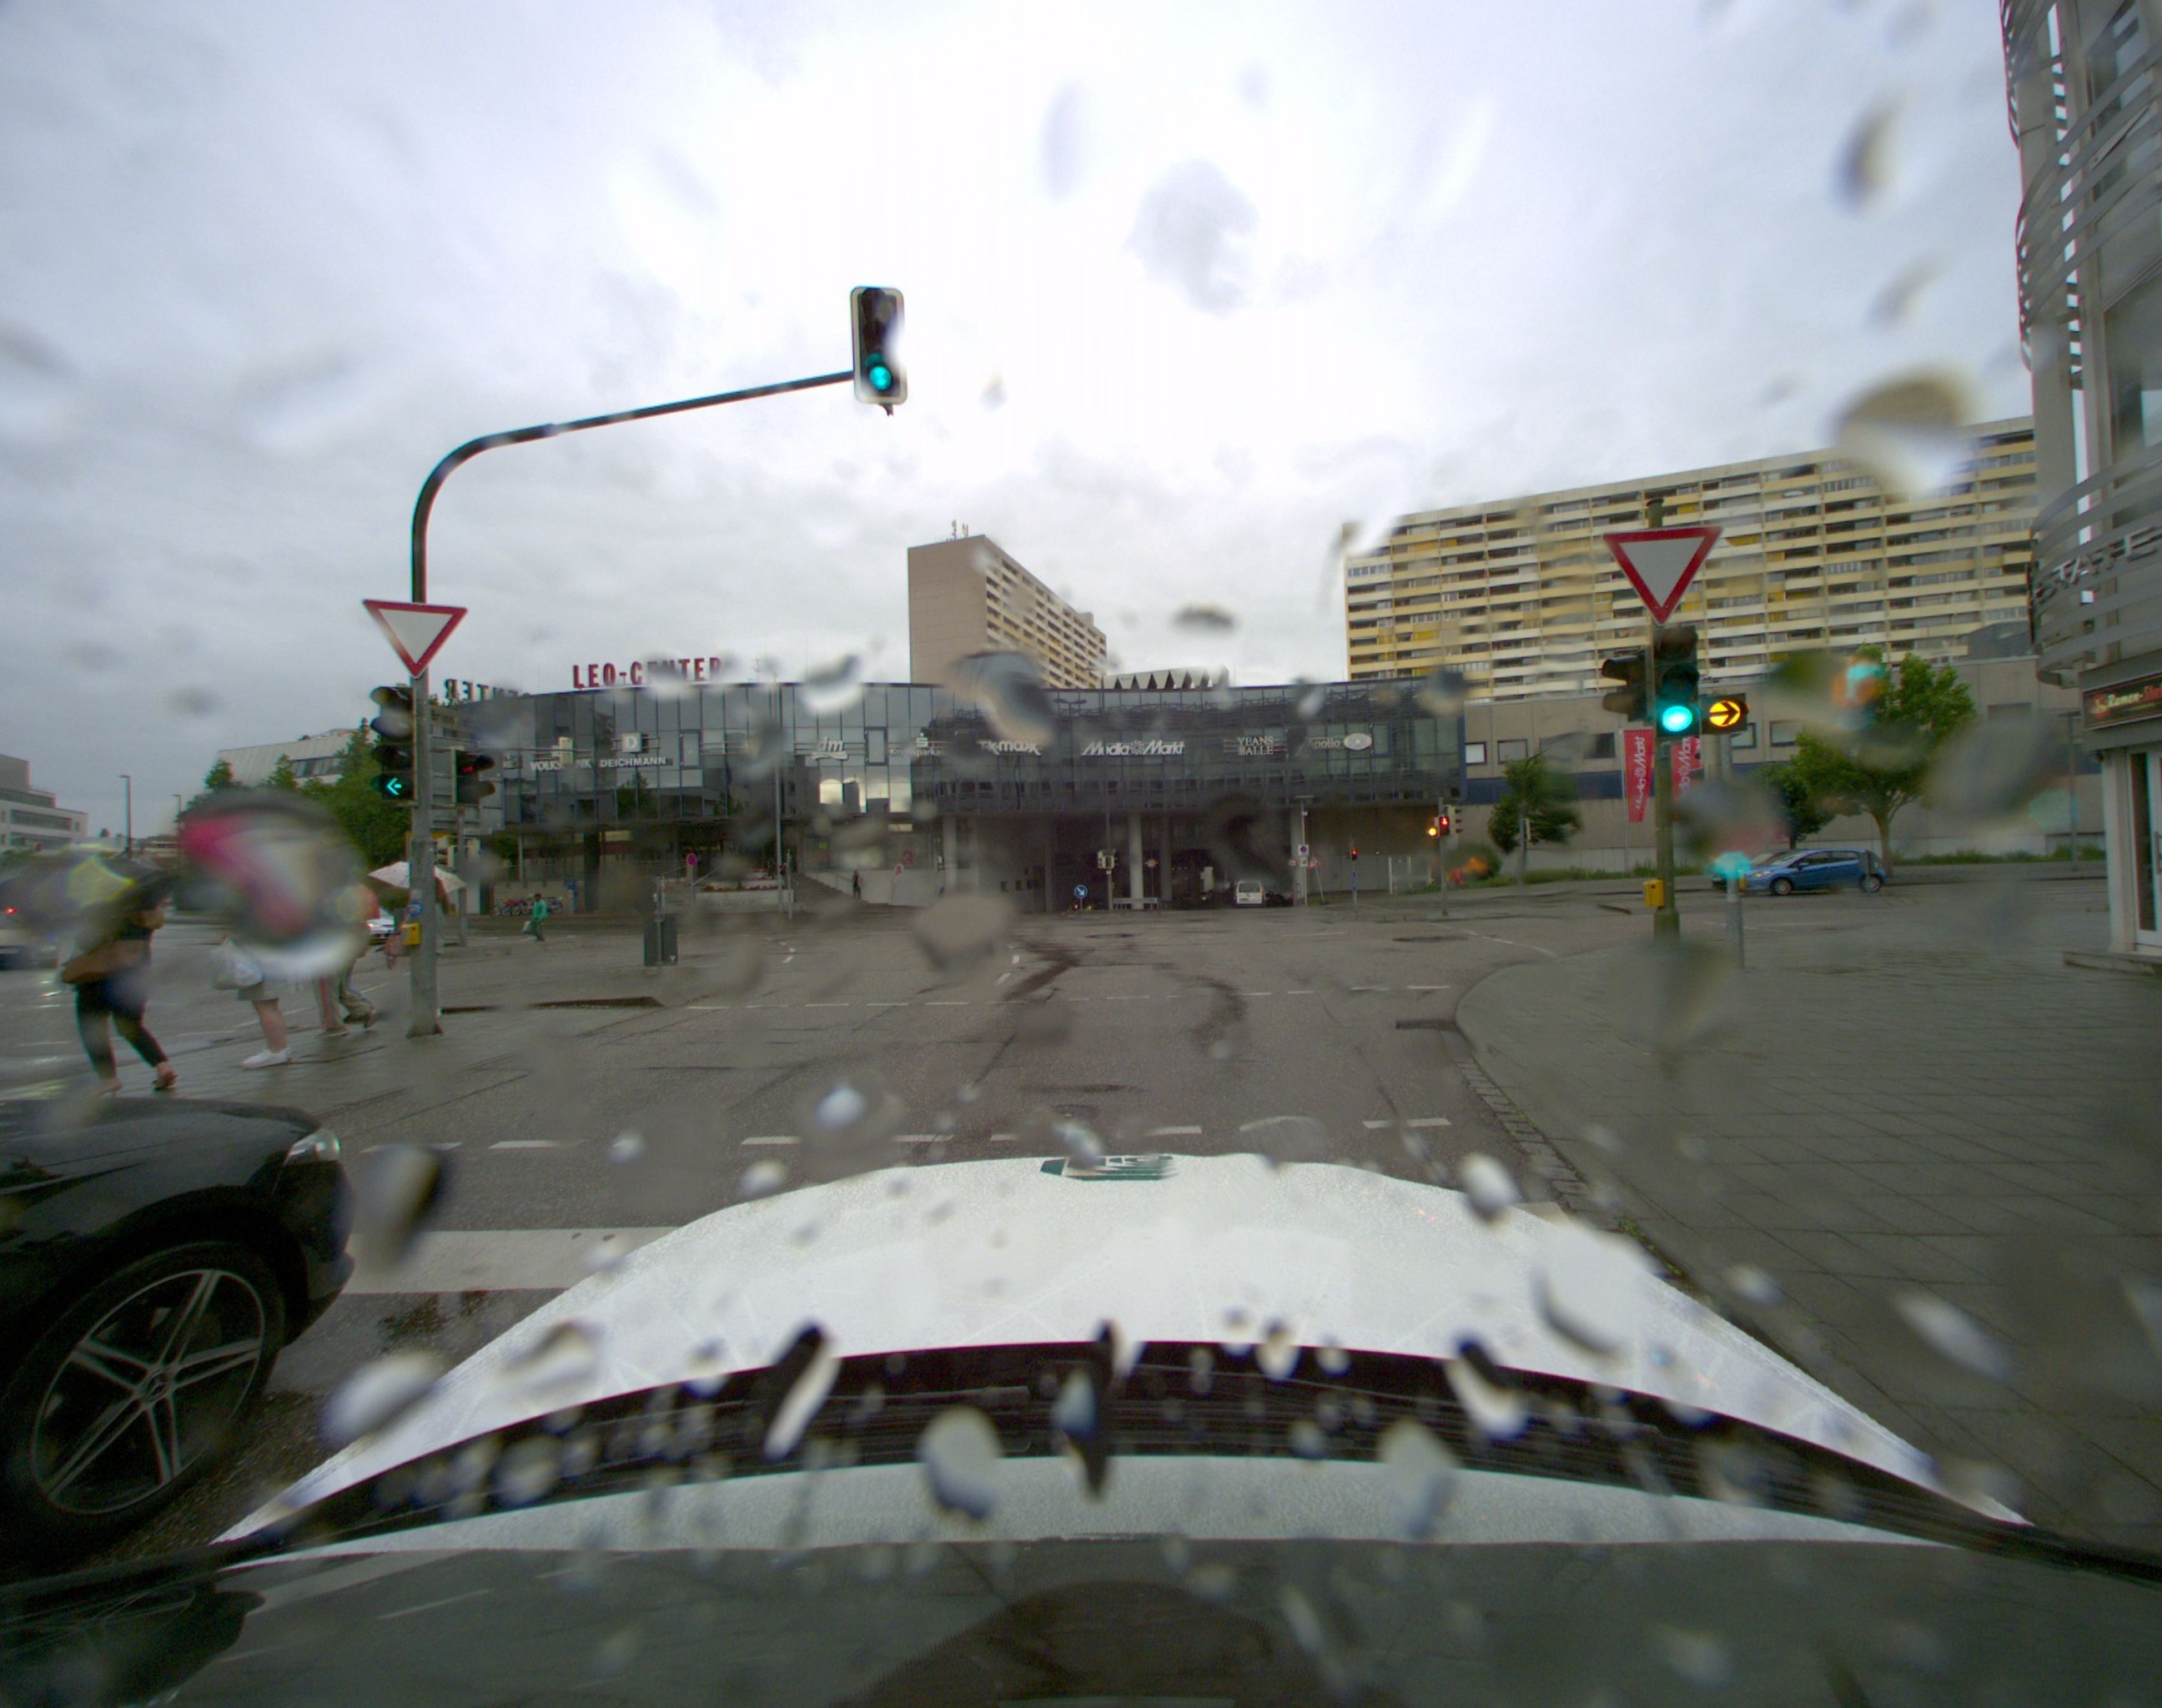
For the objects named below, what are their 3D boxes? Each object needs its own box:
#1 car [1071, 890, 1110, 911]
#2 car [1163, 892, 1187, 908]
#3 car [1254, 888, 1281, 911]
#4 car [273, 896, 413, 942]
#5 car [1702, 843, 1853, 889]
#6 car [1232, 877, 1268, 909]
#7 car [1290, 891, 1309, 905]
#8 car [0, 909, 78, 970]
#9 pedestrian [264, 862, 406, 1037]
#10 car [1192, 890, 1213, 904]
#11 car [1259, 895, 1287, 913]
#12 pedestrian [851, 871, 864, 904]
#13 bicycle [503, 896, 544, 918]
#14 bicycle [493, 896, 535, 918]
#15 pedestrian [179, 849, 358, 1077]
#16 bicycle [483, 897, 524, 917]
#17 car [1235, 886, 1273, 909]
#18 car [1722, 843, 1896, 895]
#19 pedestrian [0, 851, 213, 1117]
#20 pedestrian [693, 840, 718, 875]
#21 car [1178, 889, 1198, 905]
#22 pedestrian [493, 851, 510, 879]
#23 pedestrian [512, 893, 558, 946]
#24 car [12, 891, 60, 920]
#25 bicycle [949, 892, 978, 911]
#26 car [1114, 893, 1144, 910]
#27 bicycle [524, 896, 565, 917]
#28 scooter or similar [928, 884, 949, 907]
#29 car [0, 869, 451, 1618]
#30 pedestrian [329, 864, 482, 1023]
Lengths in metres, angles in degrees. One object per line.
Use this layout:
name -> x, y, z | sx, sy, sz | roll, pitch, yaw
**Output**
car -> 0.752, 3.591, 62.748 | 1.877, 1.470, 4.044 | -2, -6, 18
car -> 10.505, 5.168, 91.080 | 1.899, 1.588, 3.956 | -3, -2, 17
car -> 13.944, 3.415, 60.693 | 1.620, 1.612, 4.280 | -3, -4, 17
car -> -25.751, 2.273, 28.438 | 3.949, 1.441, 1.754 | -2, -1, 16
car -> 24.854, 0.436, 29.198 | 3.660, 1.395, 1.750 | -3, -2, 11
car -> 10.102, 2.312, 48.464 | 1.912, 1.798, 4.310 | -2, -3, 13
car -> 24.260, 4.858, 90.369 | 1.874, 1.491, 3.856 | -1, -1, 16
car -> -28.221, 2.201, 21.070 | 5.079, 1.414, 2.136 | -3, -3, 31
pedestrian -> -7.601, 0.938, 8.325 | 0.667, 1.685, 0.809 | -3, -2, 12
car -> 15.115, 5.353, 101.525 | 1.978, 1.664, 4.018 | -1, -1, 17
car -> 15.472, 4.019, 65.525 | 1.765, 1.400, 4.017 | -3, -4, 17
pedestrian -> -13.009, 1.950, 47.431 | 0.655, 1.908, 0.593 | -1, -1, -6
bicycle -> -31.684, 2.996, 46.317 | 0.640, 1.042, 1.864 | -3, 1, 20
bicycle -> -32.395, 3.009, 46.562 | 0.621, 1.033, 1.864 | -3, 1, 20
pedestrian -> -6.913, 0.855, 6.932 | 1.123, 1.744, 0.865 | -3, -2, 34
bicycle -> -33.081, 3.025, 46.699 | 0.529, 0.951, 1.865 | -1, 2, 23
car -> 11.984, 3.059, 56.285 | 1.742, 1.464, 3.963 | -3, -5, 23
car -> 23.432, 0.493, 26.342 | 3.819, 1.397, 1.684 | -3, -2, 10
pedestrian -> -7.111, 0.874, 5.910 | 0.958, 1.736, 0.827 | -1, -2, -36
pedestrian -> -21.714, 0.231, 47.097 | 0.823, 2.014, 0.956 | -1, -1, 17
car -> 12.625, 5.071, 95.757 | 1.823, 1.728, 4.014 | -2, -2, 13
pedestrian -> -35.523, 0.679, 49.925 | 0.592, 1.714, 0.658 | -1, -2, 25
pedestrian -> -17.406, 2.068, 25.960 | 0.940, 1.623, 0.813 | -3, -1, 25
car -> -75.001, 3.675, 58.475 | 4.085, 1.896, 2.062 | -1, -1, 38
bicycle -> -7.043, 2.847, 48.723 | 1.591, 1.018, 0.448 | 6, -4, -29
car -> 4.415, 4.359, 74.372 | 1.756, 1.464, 3.892 | -3, -4, 17
bicycle -> -30.162, 2.943, 45.818 | 0.625, 1.023, 1.864 | -3, 1, 20
scooter or similar -> -8.478, 2.476, 48.483 | 1.167, 1.373, 0.487 | 0, -1, -13
car -> -3.010, 0.801, 0.746 | 1.657, 1.481, 4.094 | 0, 0, 0
pedestrian -> -7.595, 0.971, 9.206 | 0.932, 1.677, 0.917 | -2, -1, 1
